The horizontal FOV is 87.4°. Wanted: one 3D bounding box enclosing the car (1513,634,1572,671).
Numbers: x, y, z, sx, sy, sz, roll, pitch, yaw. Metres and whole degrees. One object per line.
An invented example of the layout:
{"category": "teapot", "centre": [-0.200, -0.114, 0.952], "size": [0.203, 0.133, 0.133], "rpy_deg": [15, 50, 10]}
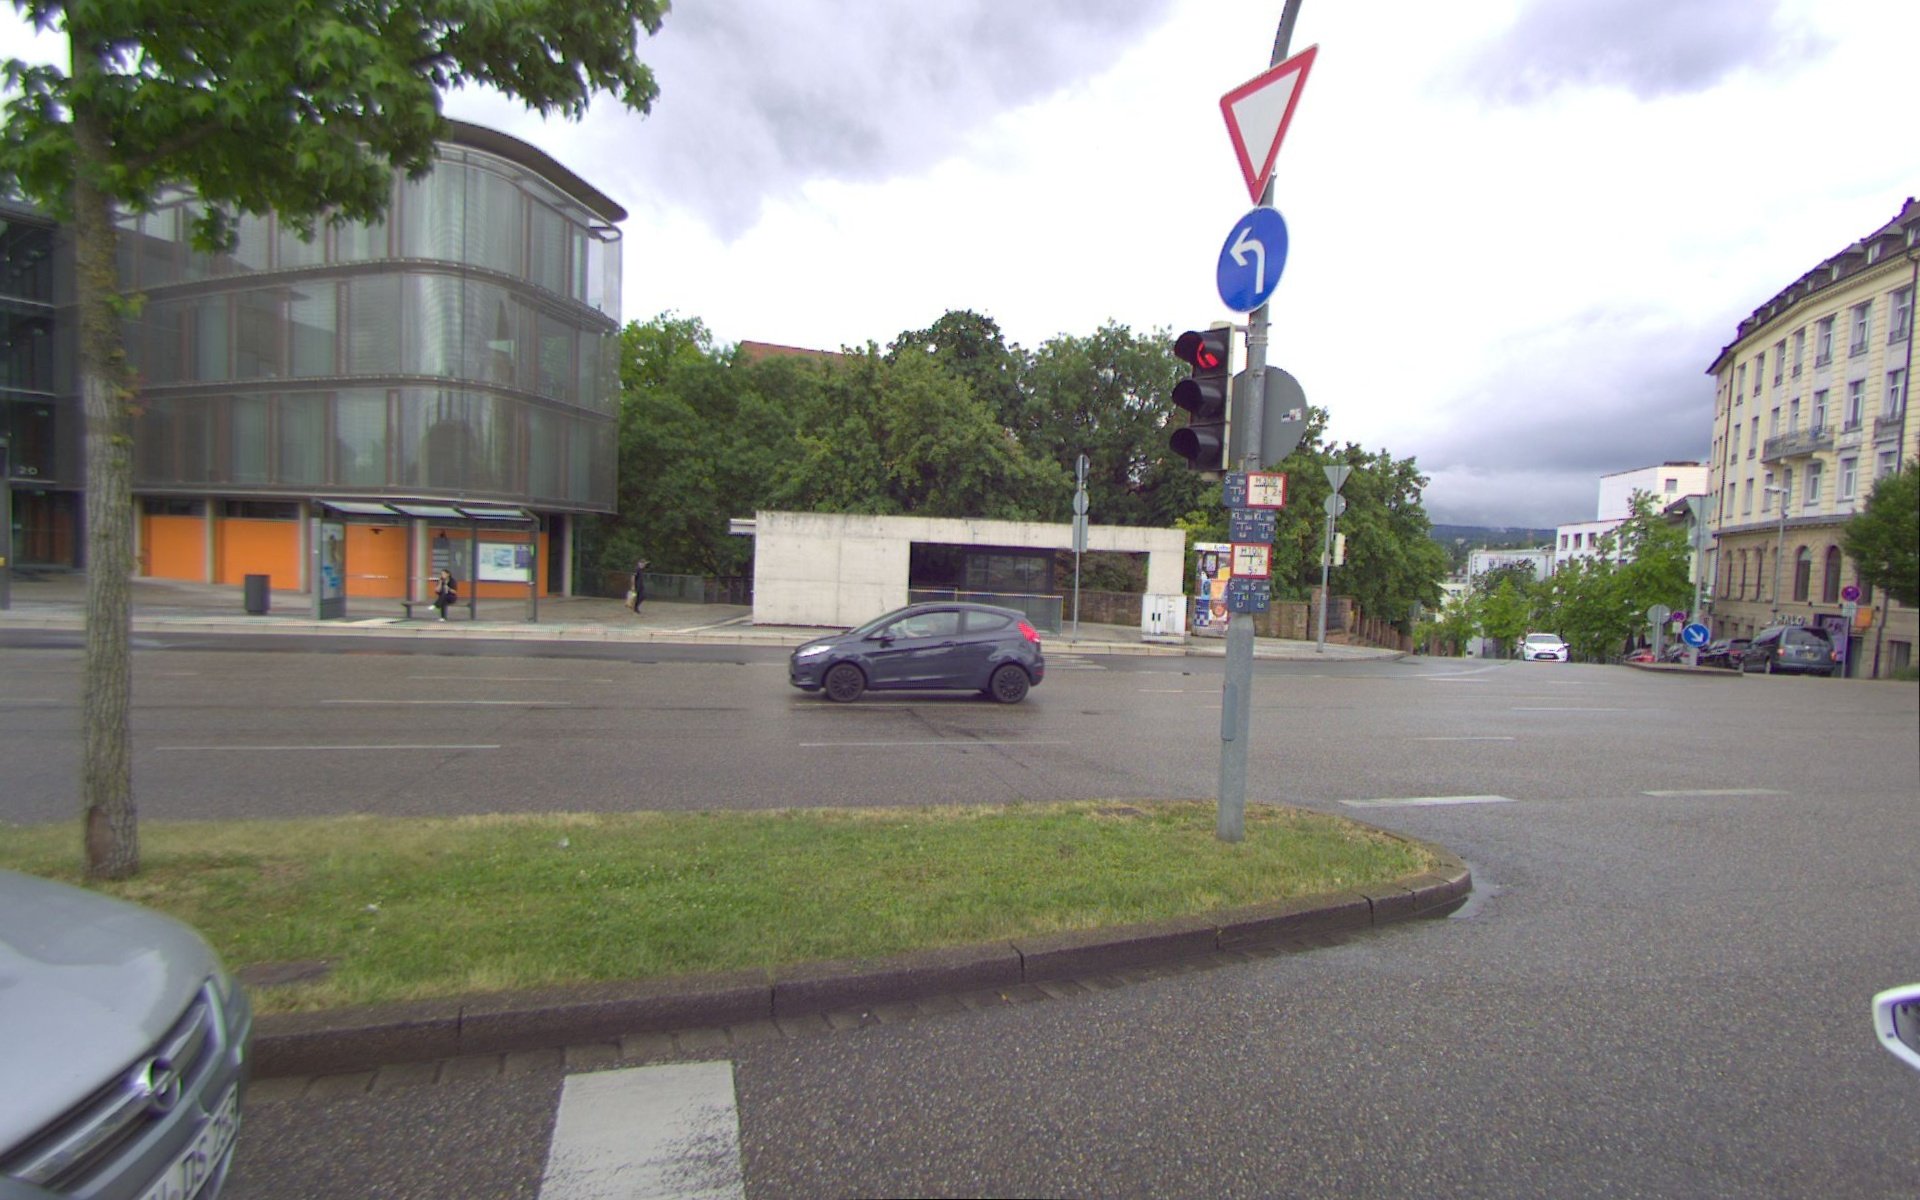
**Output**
{"category": "car", "centre": [25.931, 2.294, 44.793], "size": [1.603, 1.416, 3.999], "rpy_deg": [2, 0, 21]}

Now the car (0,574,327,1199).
{"category": "car", "centre": [-3.110, 0.646, 1.140], "size": [3.660, 1.485, 1.694], "rpy_deg": [2, 0, -16]}

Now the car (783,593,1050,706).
{"category": "car", "centre": [-0.713, 0.731, 15.227], "size": [3.796, 1.532, 1.679], "rpy_deg": [2, 0, -12]}

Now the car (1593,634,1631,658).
{"category": "car", "centre": [46.116, 3.226, 71.097], "size": [1.737, 1.498, 3.996], "rpy_deg": [2, 0, 26]}

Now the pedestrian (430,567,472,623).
{"category": "pedestrian", "centre": [-12.308, -0.125, 24.309], "size": [0.707, 1.316, 0.668], "rpy_deg": [2, 0, -10]}

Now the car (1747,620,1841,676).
{"category": "car", "centre": [29.984, 1.680, 36.235], "size": [1.604, 1.783, 3.996], "rpy_deg": [2, 1, 25]}

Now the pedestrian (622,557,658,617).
{"category": "pedestrian", "centre": [-9.986, -0.422, 31.376], "size": [0.809, 1.780, 0.786], "rpy_deg": [2, 5, 6]}

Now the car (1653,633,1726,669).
{"category": "car", "centre": [34.217, 2.359, 47.235], "size": [1.735, 1.498, 4.000], "rpy_deg": [2, 0, 21]}

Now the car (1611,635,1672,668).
{"category": "car", "centre": [36.004, 2.693, 53.184], "size": [1.735, 1.498, 4.010], "rpy_deg": [2, 0, 21]}

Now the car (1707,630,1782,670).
{"category": "car", "centre": [32.773, 2.044, 42.058], "size": [1.604, 1.417, 3.996], "rpy_deg": [2, 1, 25]}
